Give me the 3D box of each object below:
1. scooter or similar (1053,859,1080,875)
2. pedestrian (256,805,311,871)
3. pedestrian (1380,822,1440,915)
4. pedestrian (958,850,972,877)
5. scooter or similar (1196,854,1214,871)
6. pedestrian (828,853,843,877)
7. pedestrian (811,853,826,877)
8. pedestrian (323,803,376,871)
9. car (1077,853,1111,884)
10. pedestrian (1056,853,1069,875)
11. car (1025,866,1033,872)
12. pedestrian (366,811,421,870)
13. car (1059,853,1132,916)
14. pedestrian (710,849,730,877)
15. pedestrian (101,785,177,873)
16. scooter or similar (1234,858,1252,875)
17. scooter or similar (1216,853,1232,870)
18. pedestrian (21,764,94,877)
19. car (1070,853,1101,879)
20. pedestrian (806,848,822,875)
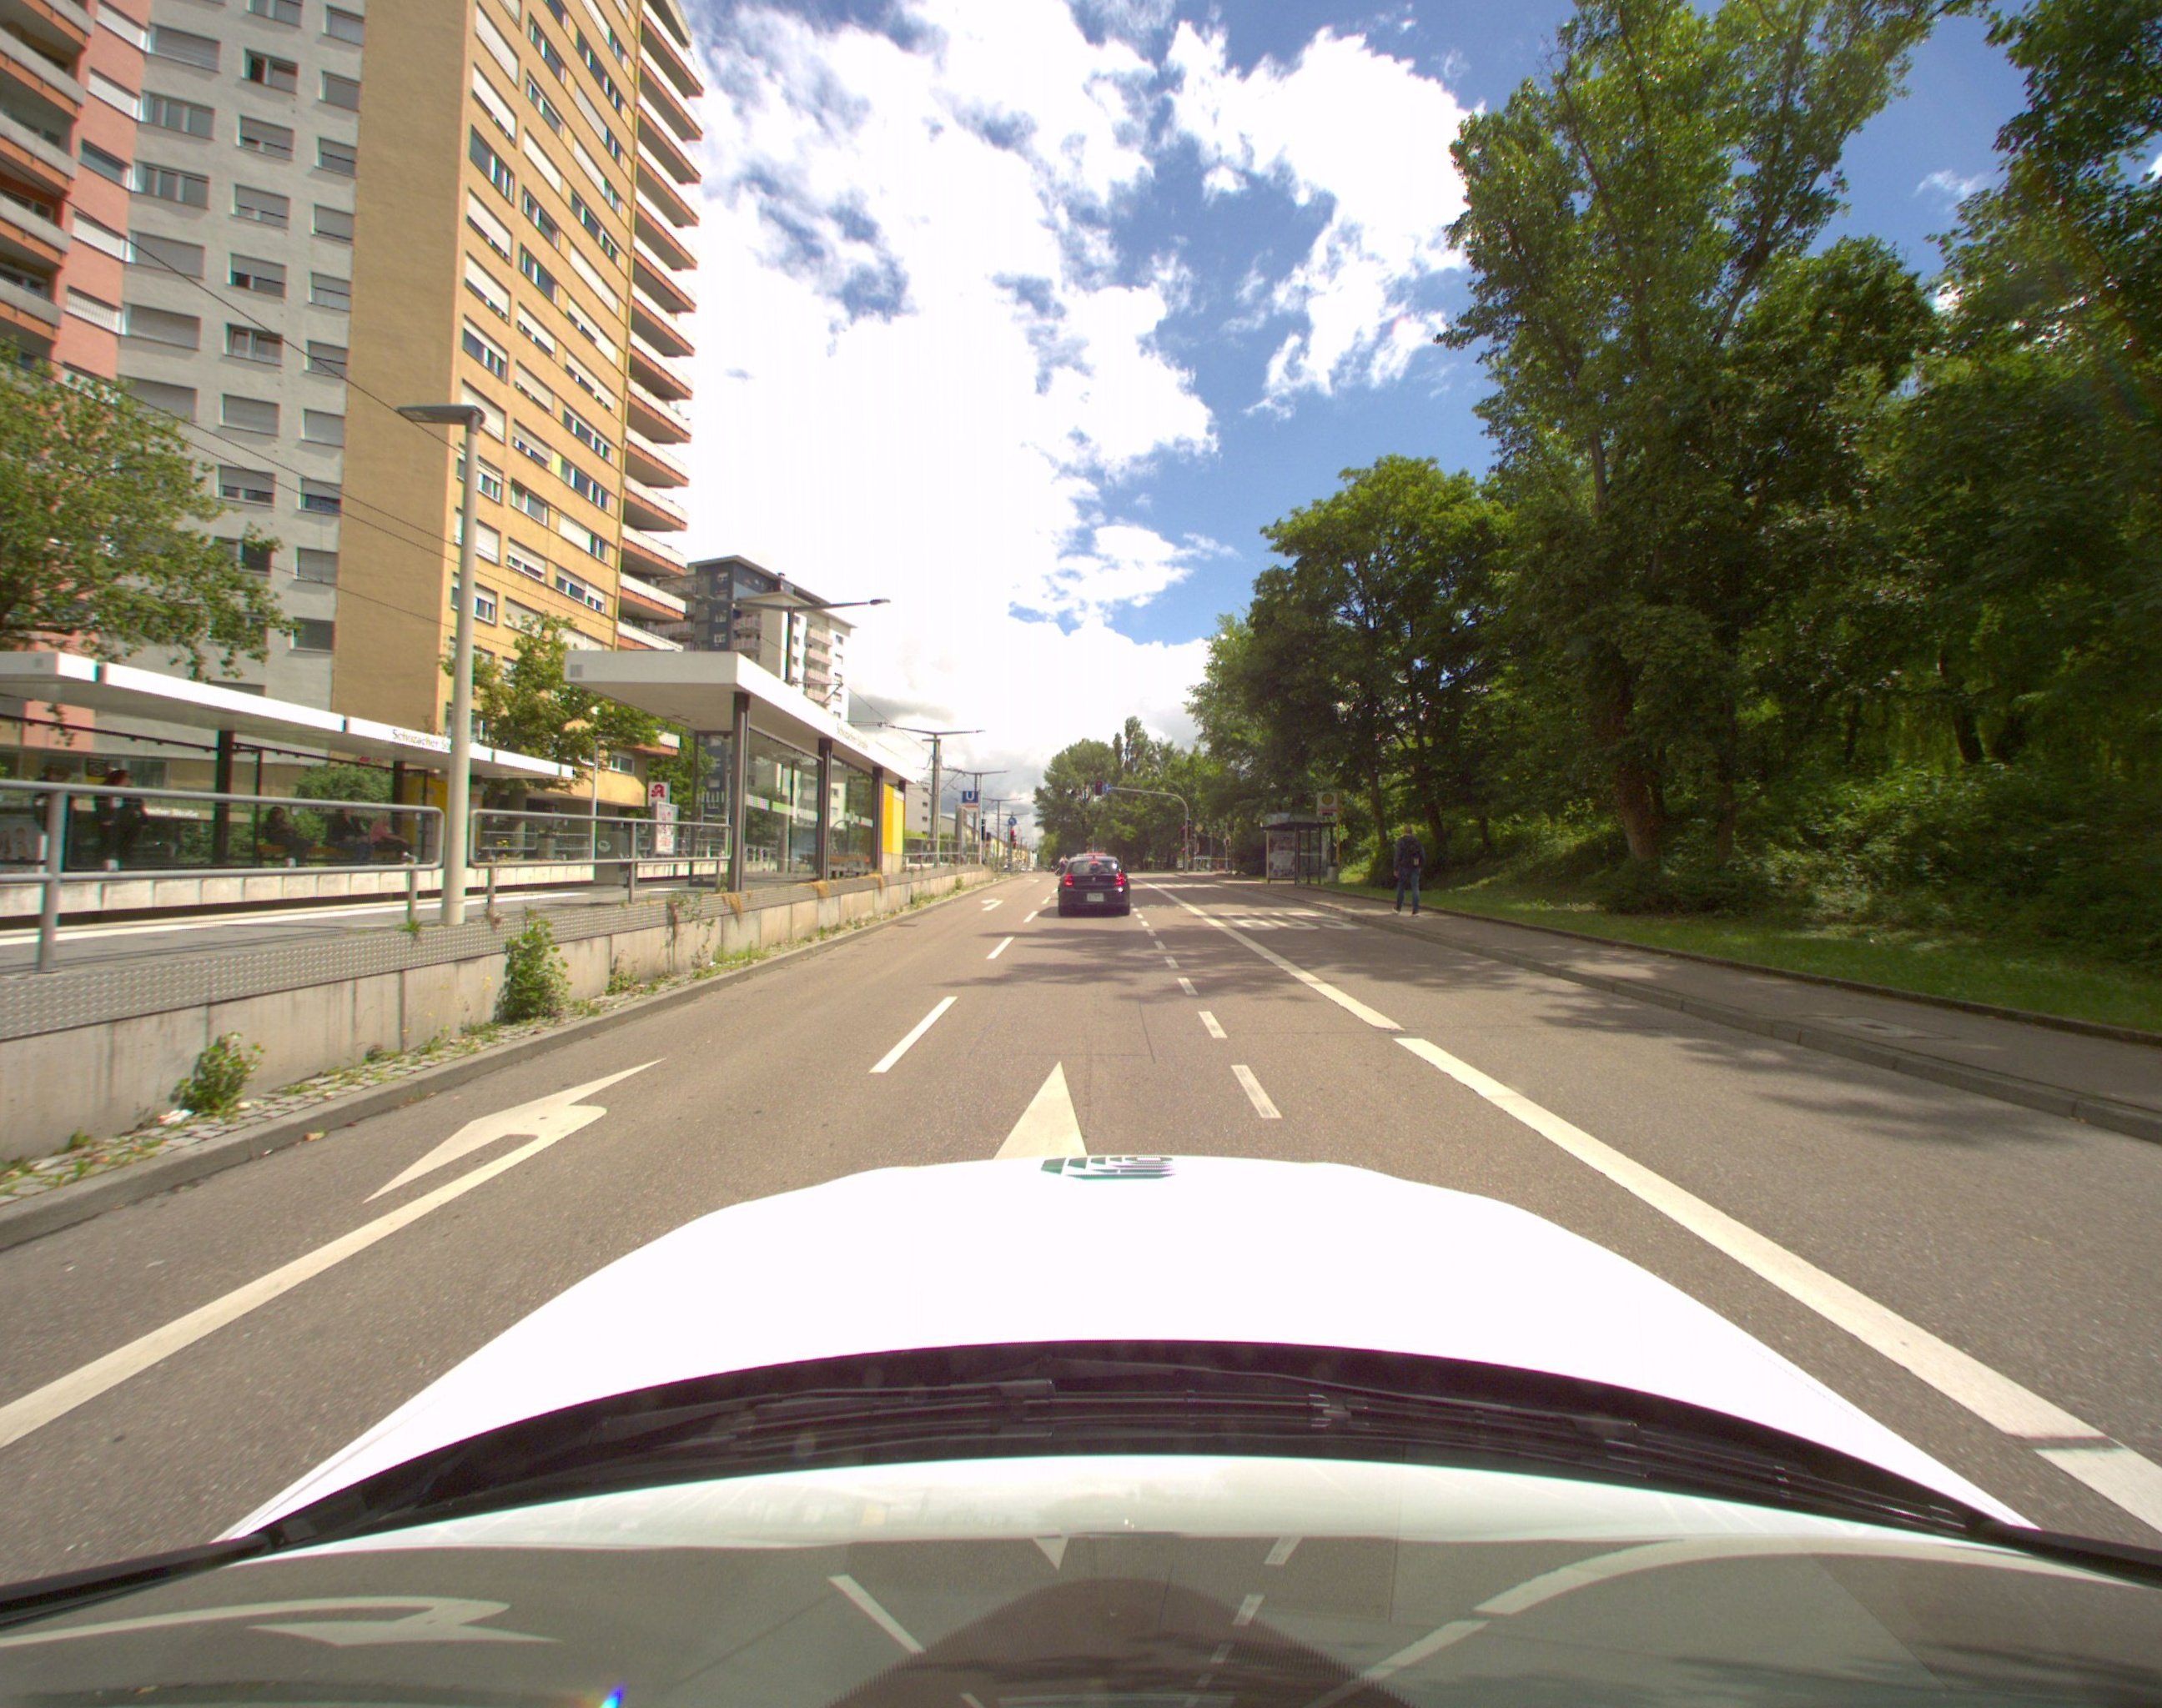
[{"bbox_3d":[-0.966,0.877,54.330,1.783,1.050,0.408,-1,0,-15],"label":"scooter or similar"},{"bbox_3d":[-15.208,-0.299,15.539,0.520,1.236,0.541,-1,0,-11],"label":"pedestrian"},{"bbox_3d":[6.935,0.288,17.239,0.798,1.895,1.271,0,0,2],"label":"pedestrian"},{"bbox_3d":[-6.968,0.561,48.804,0.698,1.632,0.638,-1,0,1],"label":"pedestrian"},{"bbox_3d":[8.936,0.585,58.662,1.290,1.189,0.383,-1,0,-15],"label":"scooter or similar"},{"bbox_3d":[-14.392,0.635,47.679,0.691,1.342,0.852,0,0,-30],"label":"pedestrian"},{"bbox_3d":[-15.198,0.635,47.097,0.660,1.343,0.558,0,0,43],"label":"pedestrian"},{"bbox_3d":[-15.080,-0.347,16.798,0.641,1.369,0.507,-1,0,1],"label":"pedestrian"},{"bbox_3d":[0.650,0.662,39.279,1.589,1.419,3.518,0,0,1],"label":"car"},{"bbox_3d":[-1.243,0.677,54.907,0.862,1.442,0.798,-1,0,0],"label":"pedestrian"},{"bbox_3d":[-14.130,3.988,221.013,1.961,1.596,3.998,0,0,-1],"label":"car"},{"bbox_3d":[-14.873,-0.287,17.638,0.739,1.236,0.518,-1,0,1],"label":"pedestrian"},{"bbox_3d":[0.414,0.702,20.322,1.648,1.419,3.519,0,0,3],"label":"car"},{"bbox_3d":[-21.998,0.525,49.640,0.851,1.696,0.692,0,0,16],"label":"pedestrian"},{"bbox_3d":[-15.143,-0.394,13.104,0.541,1.380,0.520,-1,-3,-8],"label":"pedestrian"},{"bbox_3d":[10.794,0.827,54.256,1.153,1.099,0.329,0,0,-23],"label":"scooter or similar"},{"bbox_3d":[10.445,0.564,59.514,1.107,1.258,0.330,-1,0,-11],"label":"scooter or similar"},{"bbox_3d":[-15.371,-0.494,12.244,0.523,1.644,0.559,0,0,-32],"label":"pedestrian"},{"bbox_3d":[0.224,0.644,46.012,1.649,1.419,3.515,0,0,-1],"label":"car"},{"bbox_3d":[-15.784,0.438,48.176,0.605,1.583,0.775,0,0,4],"label":"pedestrian"}]
